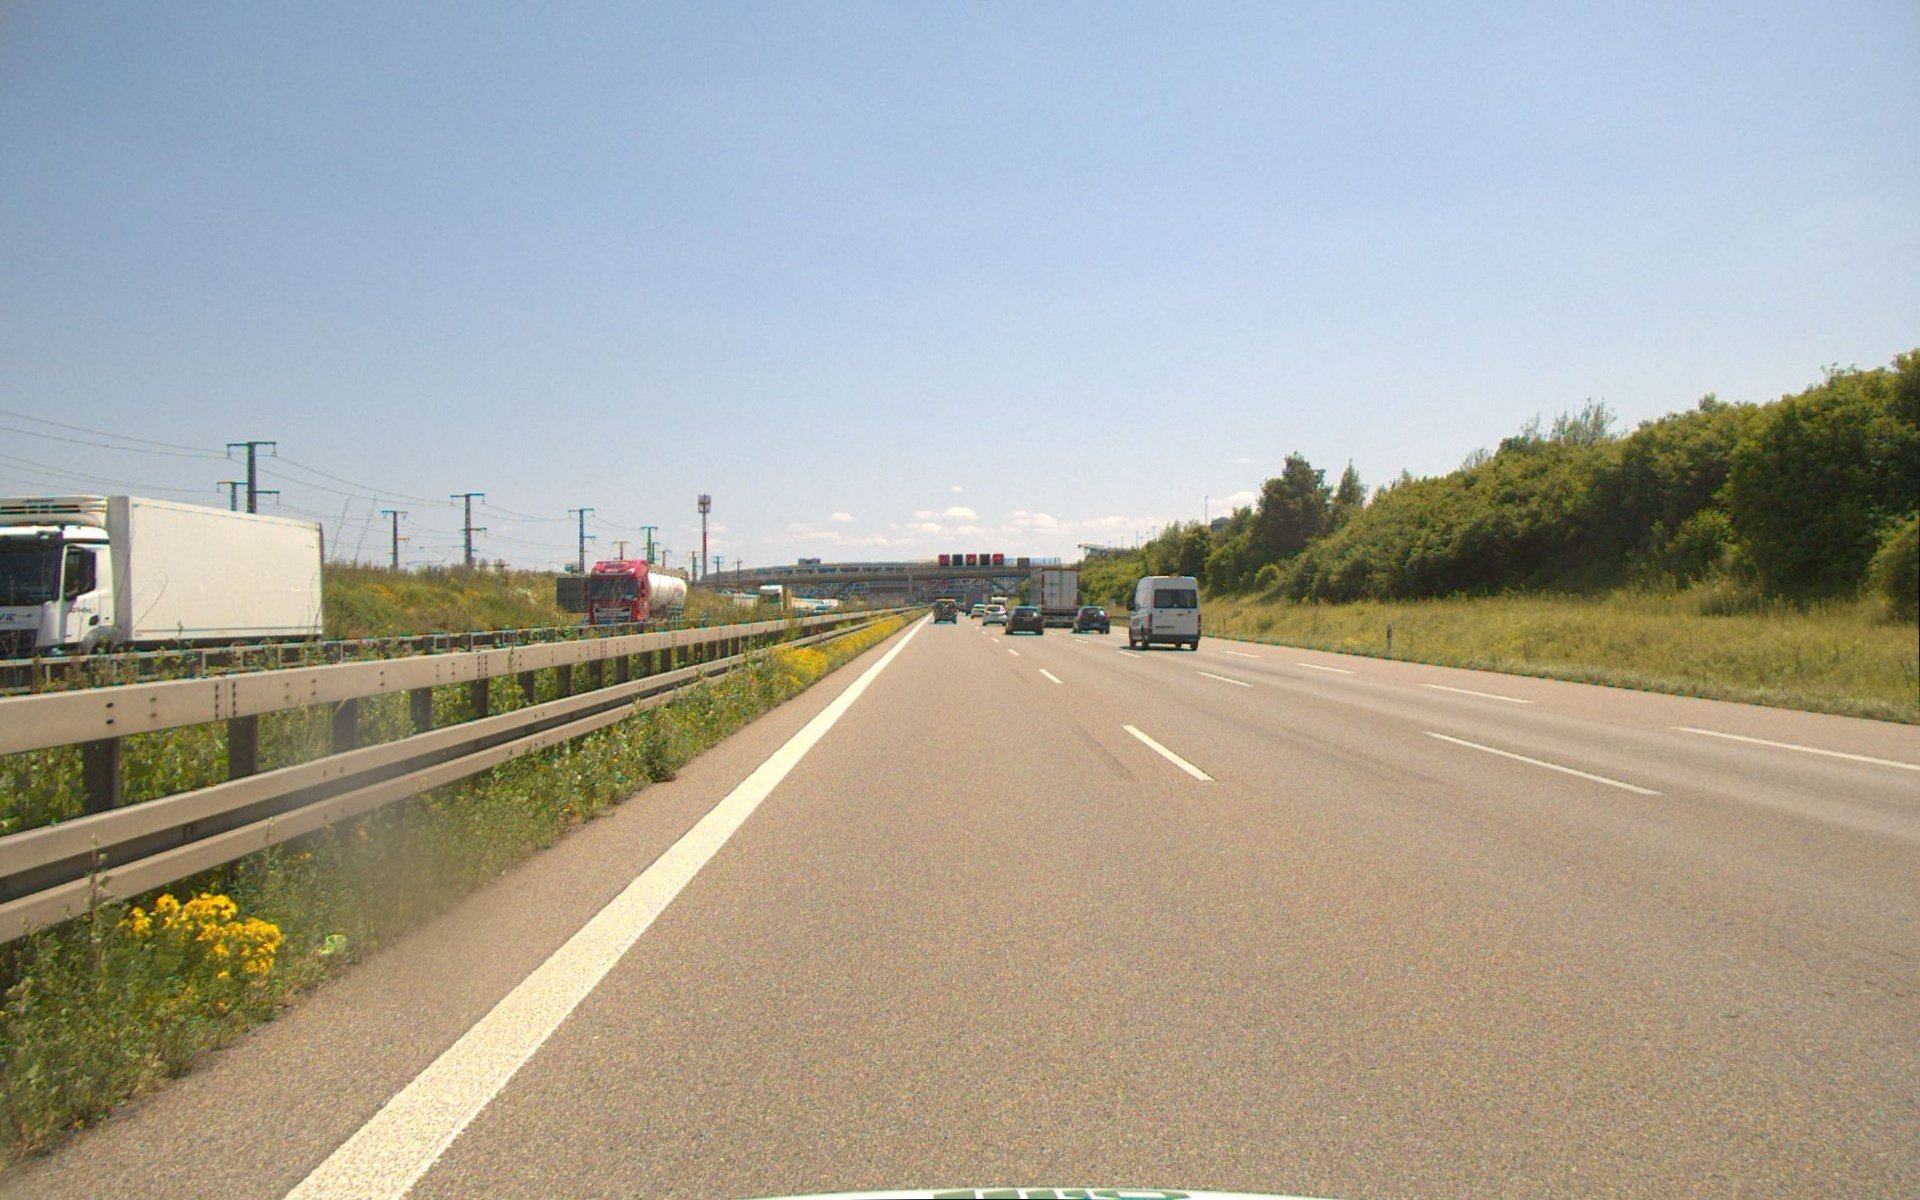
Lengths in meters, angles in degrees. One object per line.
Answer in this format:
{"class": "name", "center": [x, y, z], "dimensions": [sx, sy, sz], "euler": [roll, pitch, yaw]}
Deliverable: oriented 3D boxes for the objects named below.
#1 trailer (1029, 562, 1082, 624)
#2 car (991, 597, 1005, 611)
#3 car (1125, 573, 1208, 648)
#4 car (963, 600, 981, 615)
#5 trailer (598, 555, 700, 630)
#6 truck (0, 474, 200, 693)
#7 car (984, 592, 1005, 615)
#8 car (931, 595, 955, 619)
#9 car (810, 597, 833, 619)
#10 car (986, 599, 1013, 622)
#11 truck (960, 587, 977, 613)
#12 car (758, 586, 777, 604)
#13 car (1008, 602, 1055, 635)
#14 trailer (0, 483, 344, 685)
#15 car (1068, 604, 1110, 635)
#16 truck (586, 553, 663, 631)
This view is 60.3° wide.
{"class": "trailer", "center": [6.647, -0.494, 116.349], "dimensions": [3.112, 4.130, 9.438], "euler": [-1, 0, 0]}
{"class": "car", "center": [5.510, 0.566, 240.845], "dimensions": [1.952, 2.049, 4.437], "euler": [-1, 0, 1]}
{"class": "car", "center": [7.439, 0.359, 60.138], "dimensions": [2.228, 2.572, 5.398], "euler": [0, 0, -2]}
{"class": "car", "center": [1.288, 0.797, 176.242], "dimensions": [1.842, 1.553, 4.000], "euler": [1, -1, 0]}
{"class": "trailer", "center": [-16.226, -0.341, 87.397], "dimensions": [2.731, 3.583, 13.839], "euler": [2, 0, 0]}
{"class": "truck", "center": [-15.603, -0.279, 28.544], "dimensions": [2.731, 3.447, 4.713], "euler": [2, 0, 0]}
{"class": "car", "center": [4.551, 0.500, 216.866], "dimensions": [2.554, 2.814, 5.236], "euler": [2, -1, 0]}
{"class": "car", "center": [-1.338, 0.562, 129.169], "dimensions": [1.842, 1.806, 3.999], "euler": [0, -1, -1]}
{"class": "car", "center": [-13.386, 0.743, 159.528], "dimensions": [1.953, 2.049, 3.999], "euler": [-1, 0, -2]}
{"class": "car", "center": [2.839, 0.772, 118.391], "dimensions": [1.841, 1.553, 4.001], "euler": [1, -1, 2]}
{"class": "truck", "center": [1.135, 0.003, 228.308], "dimensions": [2.307, 3.476, 6.056], "euler": [0, 0, 0]}
{"class": "car", "center": [-21.639, -0.579, 185.959], "dimensions": [1.954, 2.049, 3.996], "euler": [0, 0, -4]}
{"class": "car", "center": [3.515, 0.920, 82.314], "dimensions": [1.954, 1.534, 3.997], "euler": [2, -1, -3]}
{"class": "trailer", "center": [-15.641, -0.265, 33.472], "dimensions": [2.731, 3.447, 9.581], "euler": [2, 0, 0]}
{"class": "car", "center": [7.142, 1.092, 91.995], "dimensions": [1.953, 1.624, 3.998], "euler": [2, -1, -1]}
{"class": "truck", "center": [-16.194, -0.351, 80.118], "dimensions": [2.731, 3.583, 4.713], "euler": [2, 0, 0]}
